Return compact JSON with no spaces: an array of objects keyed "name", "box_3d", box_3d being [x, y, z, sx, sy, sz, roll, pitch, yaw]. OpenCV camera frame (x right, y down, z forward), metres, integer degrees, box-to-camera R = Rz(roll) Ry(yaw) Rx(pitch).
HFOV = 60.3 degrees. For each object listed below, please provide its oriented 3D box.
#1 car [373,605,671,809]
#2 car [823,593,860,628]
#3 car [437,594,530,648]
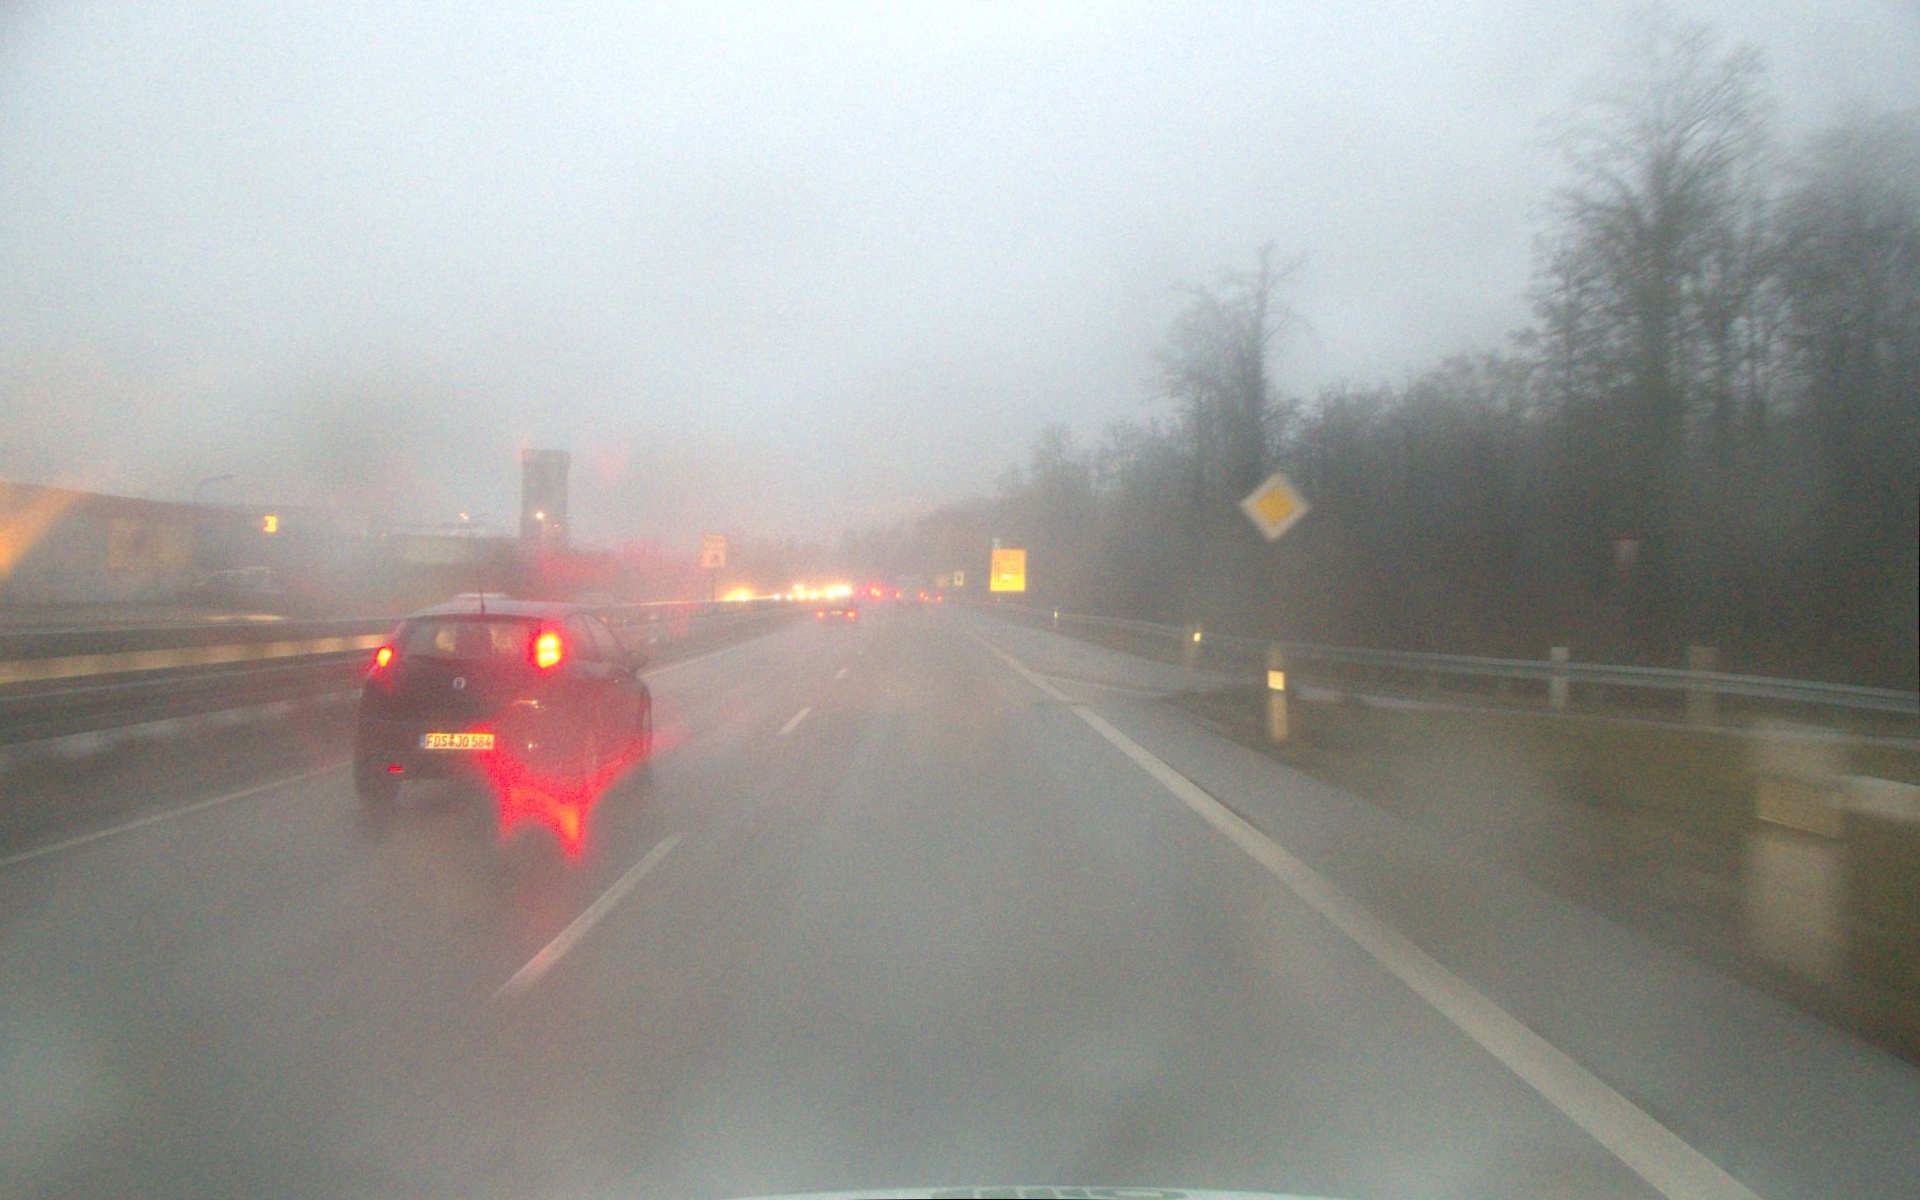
[{"name":"car","box_3d":[-3.483,0.775,13.849,1.593,1.416,3.997,2,0,-3]},{"name":"car","box_3d":[-4.828,0.425,67.628,1.387,1.340,3.081,2,0,-2]},{"name":"car","box_3d":[-14.307,0.621,49.854,1.701,1.534,3.999,1,0,-2]}]
